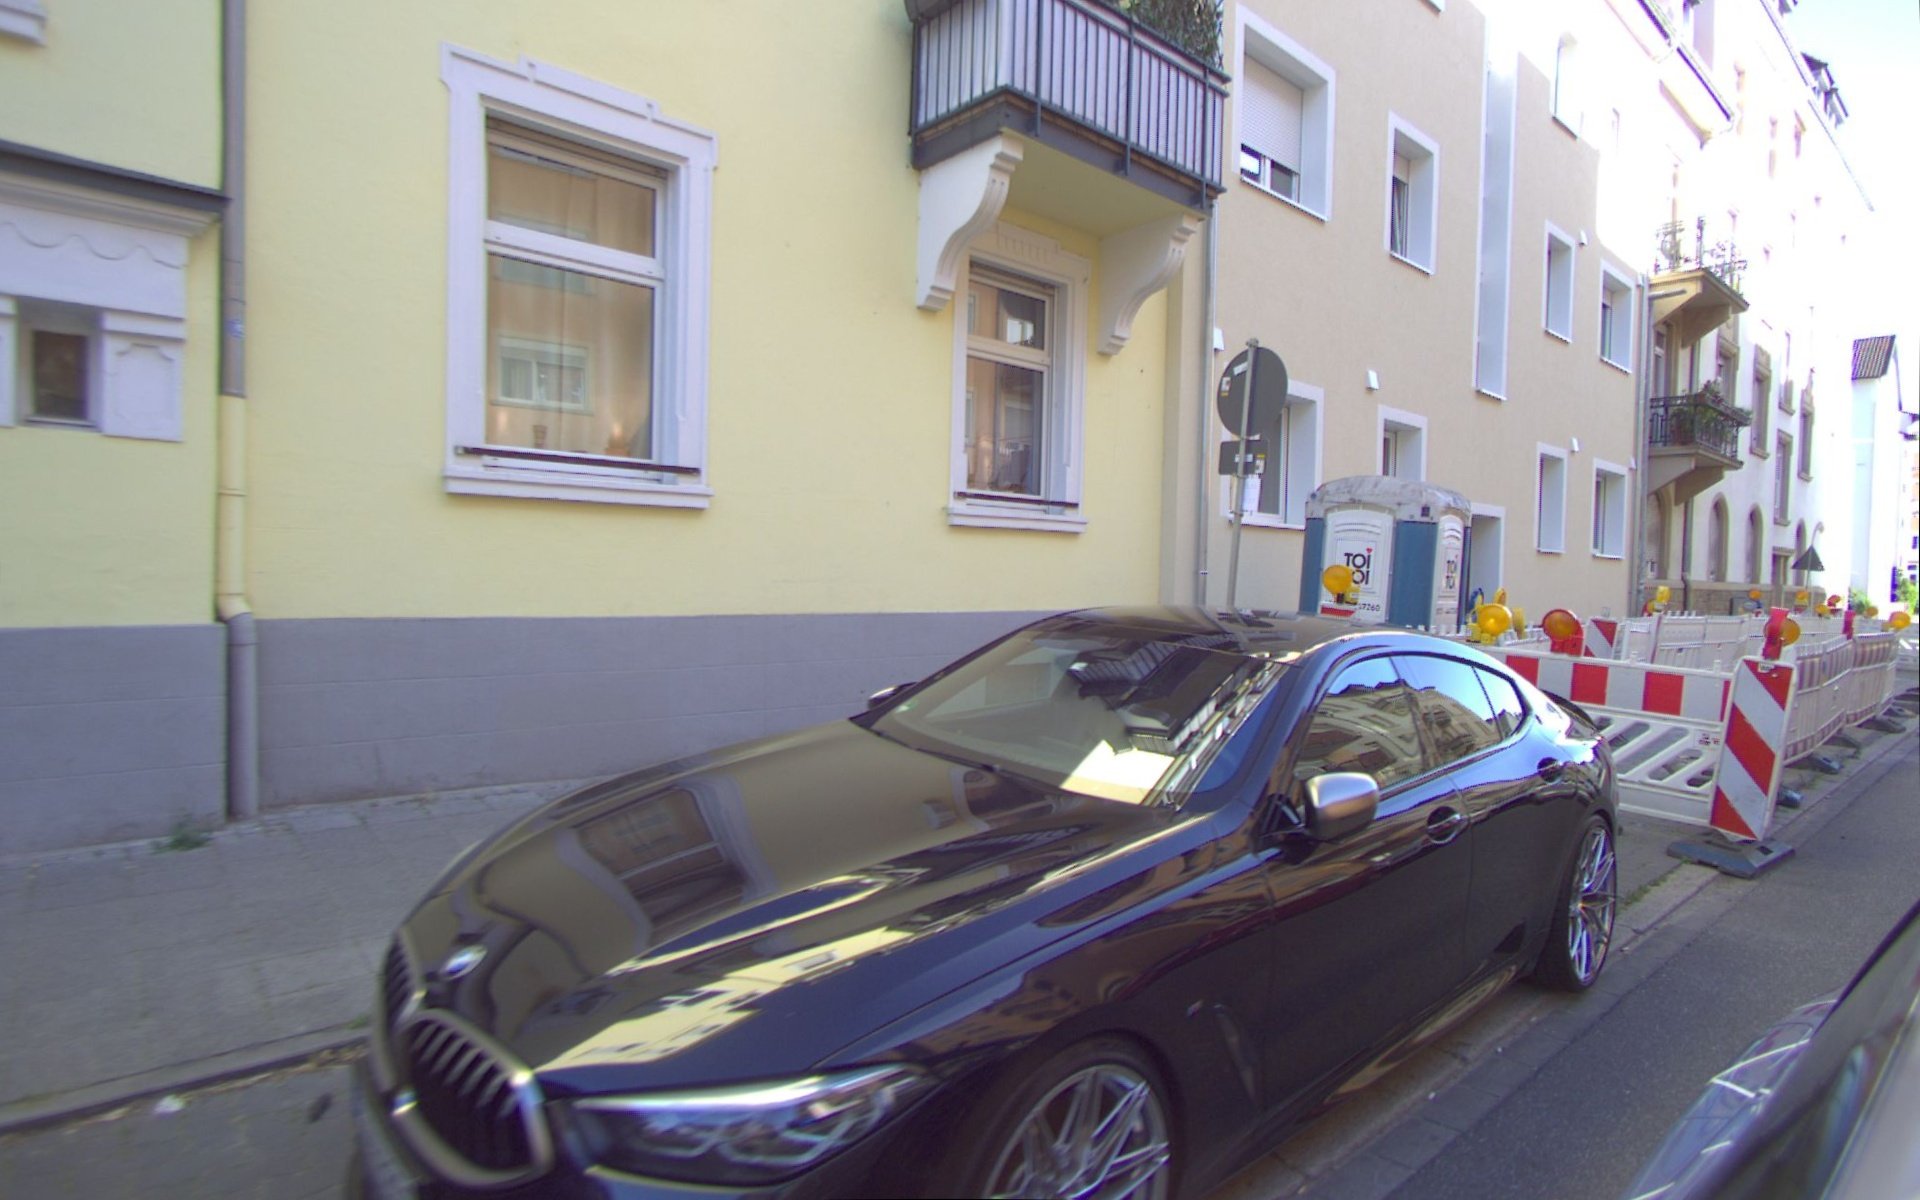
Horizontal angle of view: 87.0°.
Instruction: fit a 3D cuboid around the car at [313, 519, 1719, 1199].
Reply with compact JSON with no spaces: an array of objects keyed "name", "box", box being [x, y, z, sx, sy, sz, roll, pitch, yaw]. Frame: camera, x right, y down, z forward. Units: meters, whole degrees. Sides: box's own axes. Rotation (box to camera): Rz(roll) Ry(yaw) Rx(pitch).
[{"name":"car","box":[0.848,0.614,3.530,5.022,1.488,1.805,0,4,-41]}]
